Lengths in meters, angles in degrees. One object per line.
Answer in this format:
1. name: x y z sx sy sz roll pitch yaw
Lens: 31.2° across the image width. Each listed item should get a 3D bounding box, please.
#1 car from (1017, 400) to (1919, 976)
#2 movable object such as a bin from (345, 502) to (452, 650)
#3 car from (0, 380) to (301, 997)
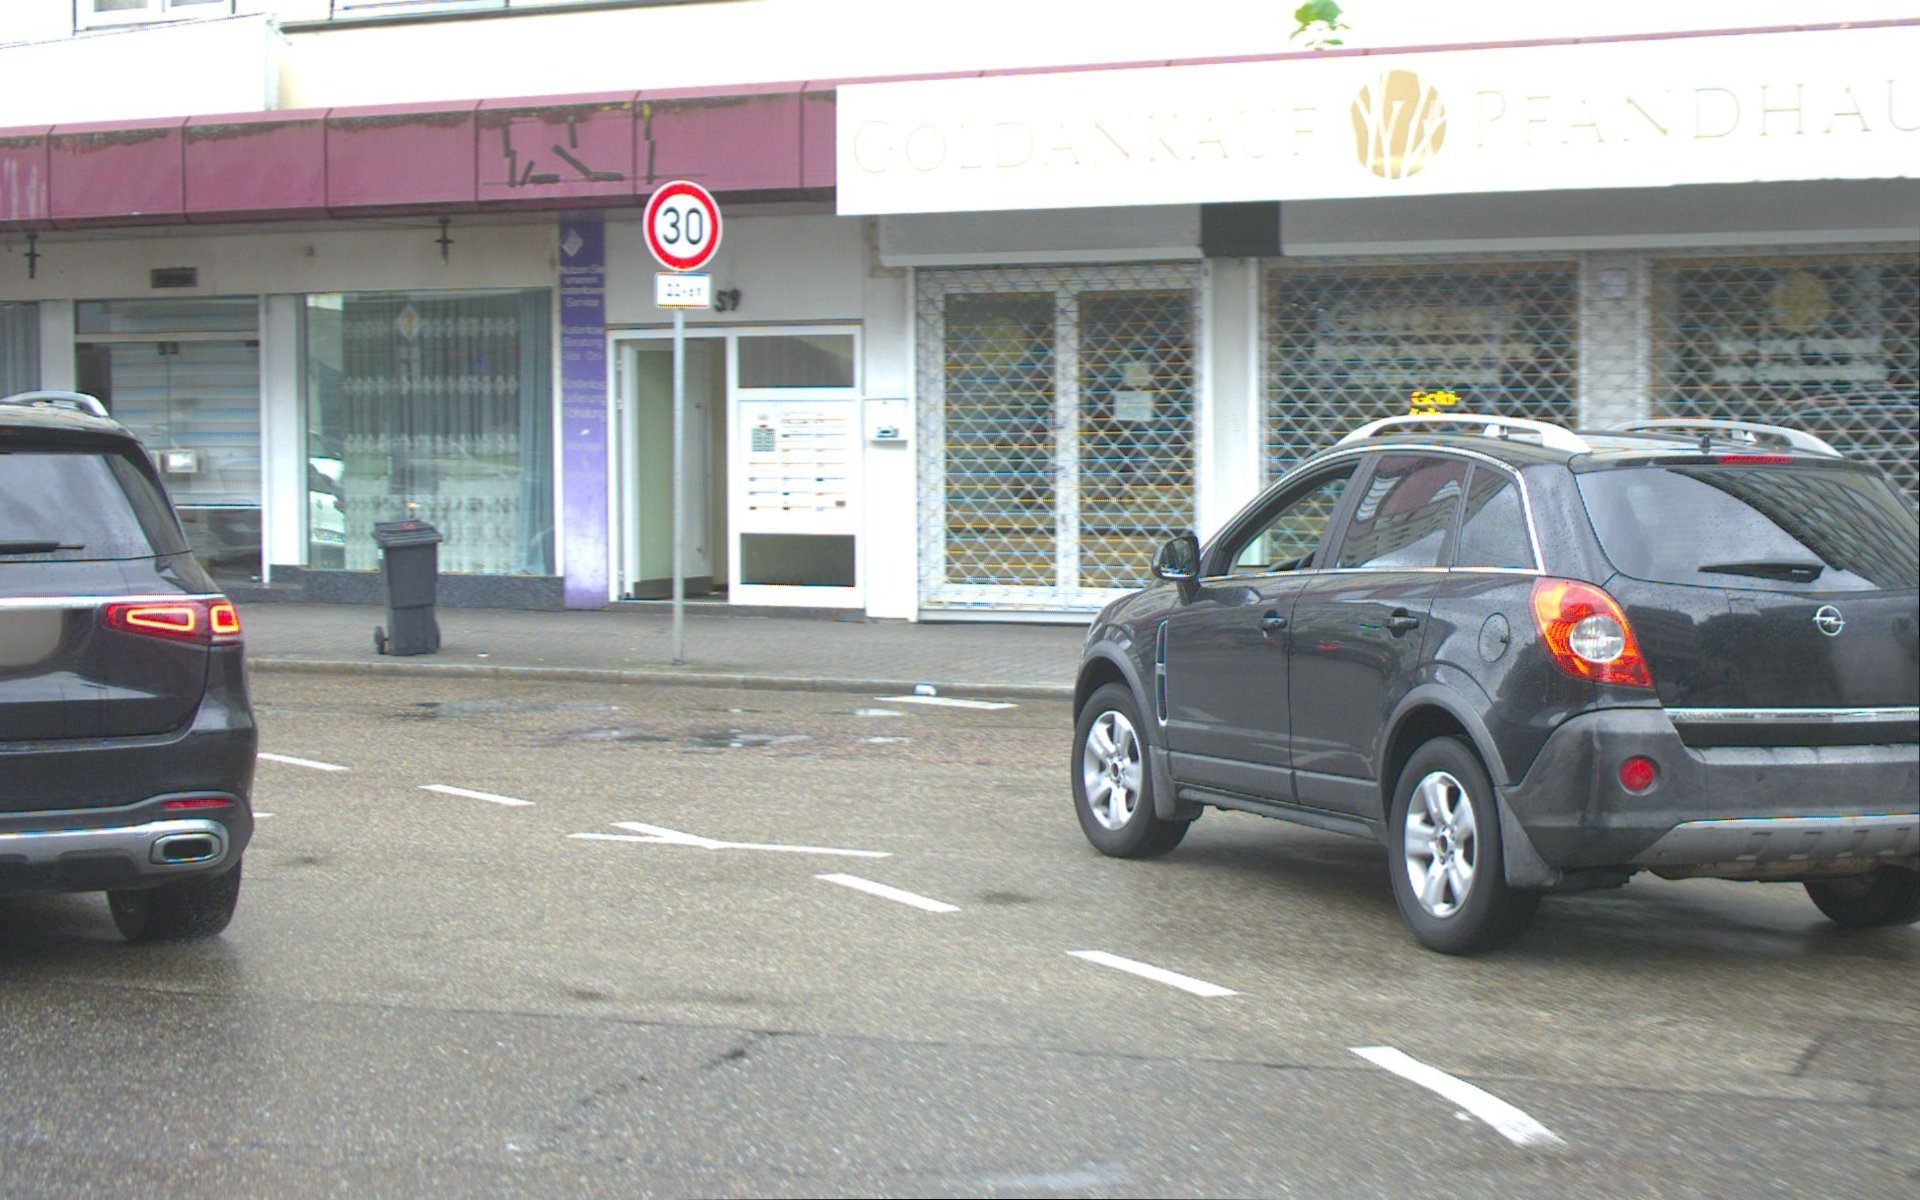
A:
1. car: 1.903 0.176 12.516 1.897 1.689 4.507 0 2 -20
2. movable object such as a bin: -4.001 -0.177 24.470 0.536 0.947 0.620 -8 8 -22
3. car: -3.926 0.141 12.001 2.038 1.792 4.664 -1 3 -26
